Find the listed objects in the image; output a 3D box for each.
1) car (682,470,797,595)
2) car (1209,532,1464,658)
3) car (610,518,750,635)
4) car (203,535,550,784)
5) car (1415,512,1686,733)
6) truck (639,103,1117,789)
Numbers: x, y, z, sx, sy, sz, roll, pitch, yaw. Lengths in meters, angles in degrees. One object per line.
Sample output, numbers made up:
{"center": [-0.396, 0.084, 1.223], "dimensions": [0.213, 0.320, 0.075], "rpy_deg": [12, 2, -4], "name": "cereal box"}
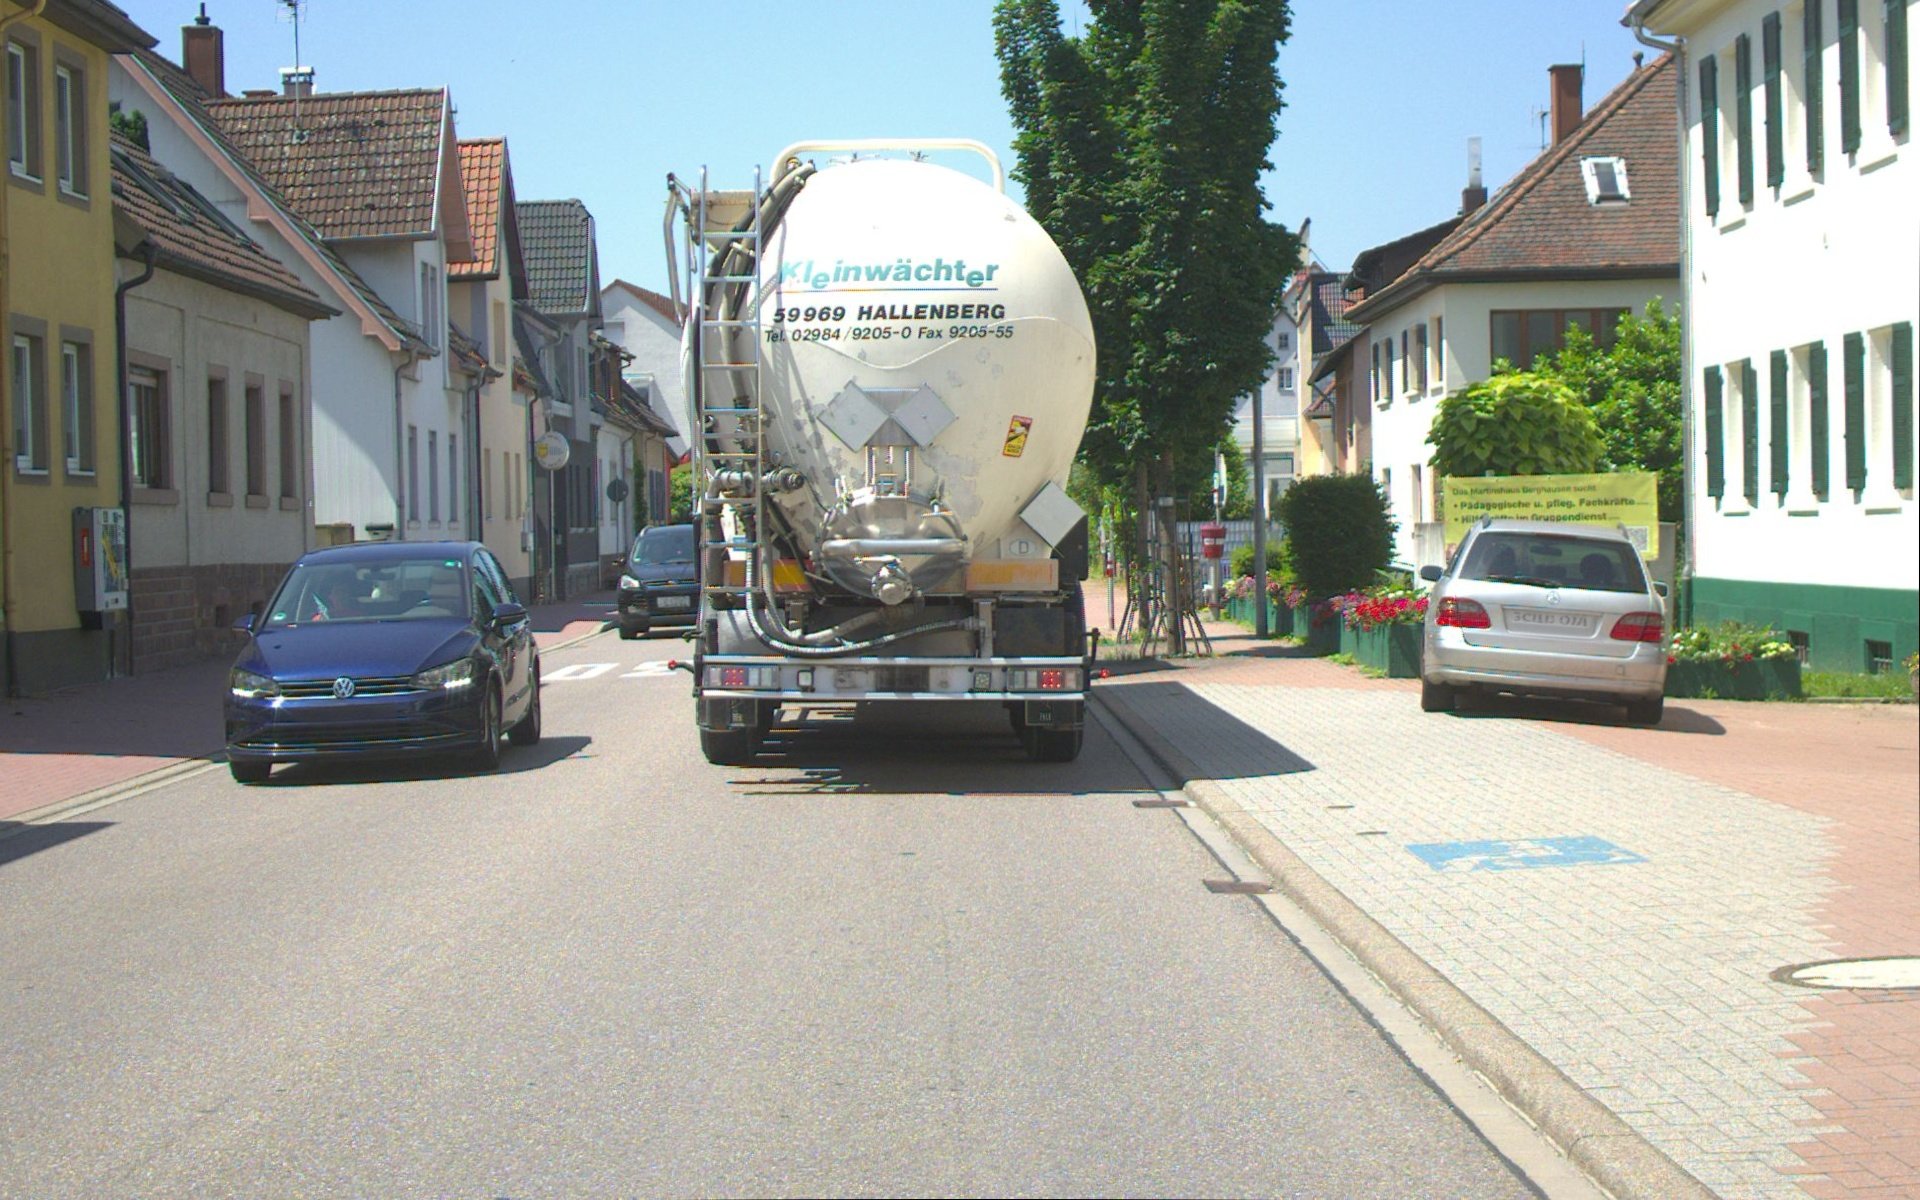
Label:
{"center": [-4.582, -1.410, 72.226], "dimensions": [2.069, 2.446, 6.008], "rpy_deg": [-2, 1, -1], "name": "car"}
{"center": [6.726, -0.103, 61.739], "dimensions": [4.170, 1.581, 1.907], "rpy_deg": [9, 1, 0], "name": "car"}
{"center": [-4.290, -0.396, 53.179], "dimensions": [1.839, 1.664, 4.324], "rpy_deg": [-2, 1, -1], "name": "car"}
{"center": [-3.994, 0.344, 24.149], "dimensions": [1.765, 1.531, 4.078], "rpy_deg": [-2, 1, -1], "name": "car"}
{"center": [4.560, 0.098, 27.041], "dimensions": [1.815, 1.457, 4.883], "rpy_deg": [4, 2, 8], "name": "car"}
{"center": [-0.603, -0.932, 24.034], "dimensions": [2.732, 3.946, 8.142], "rpy_deg": [1, 1, -2], "name": "truck"}
